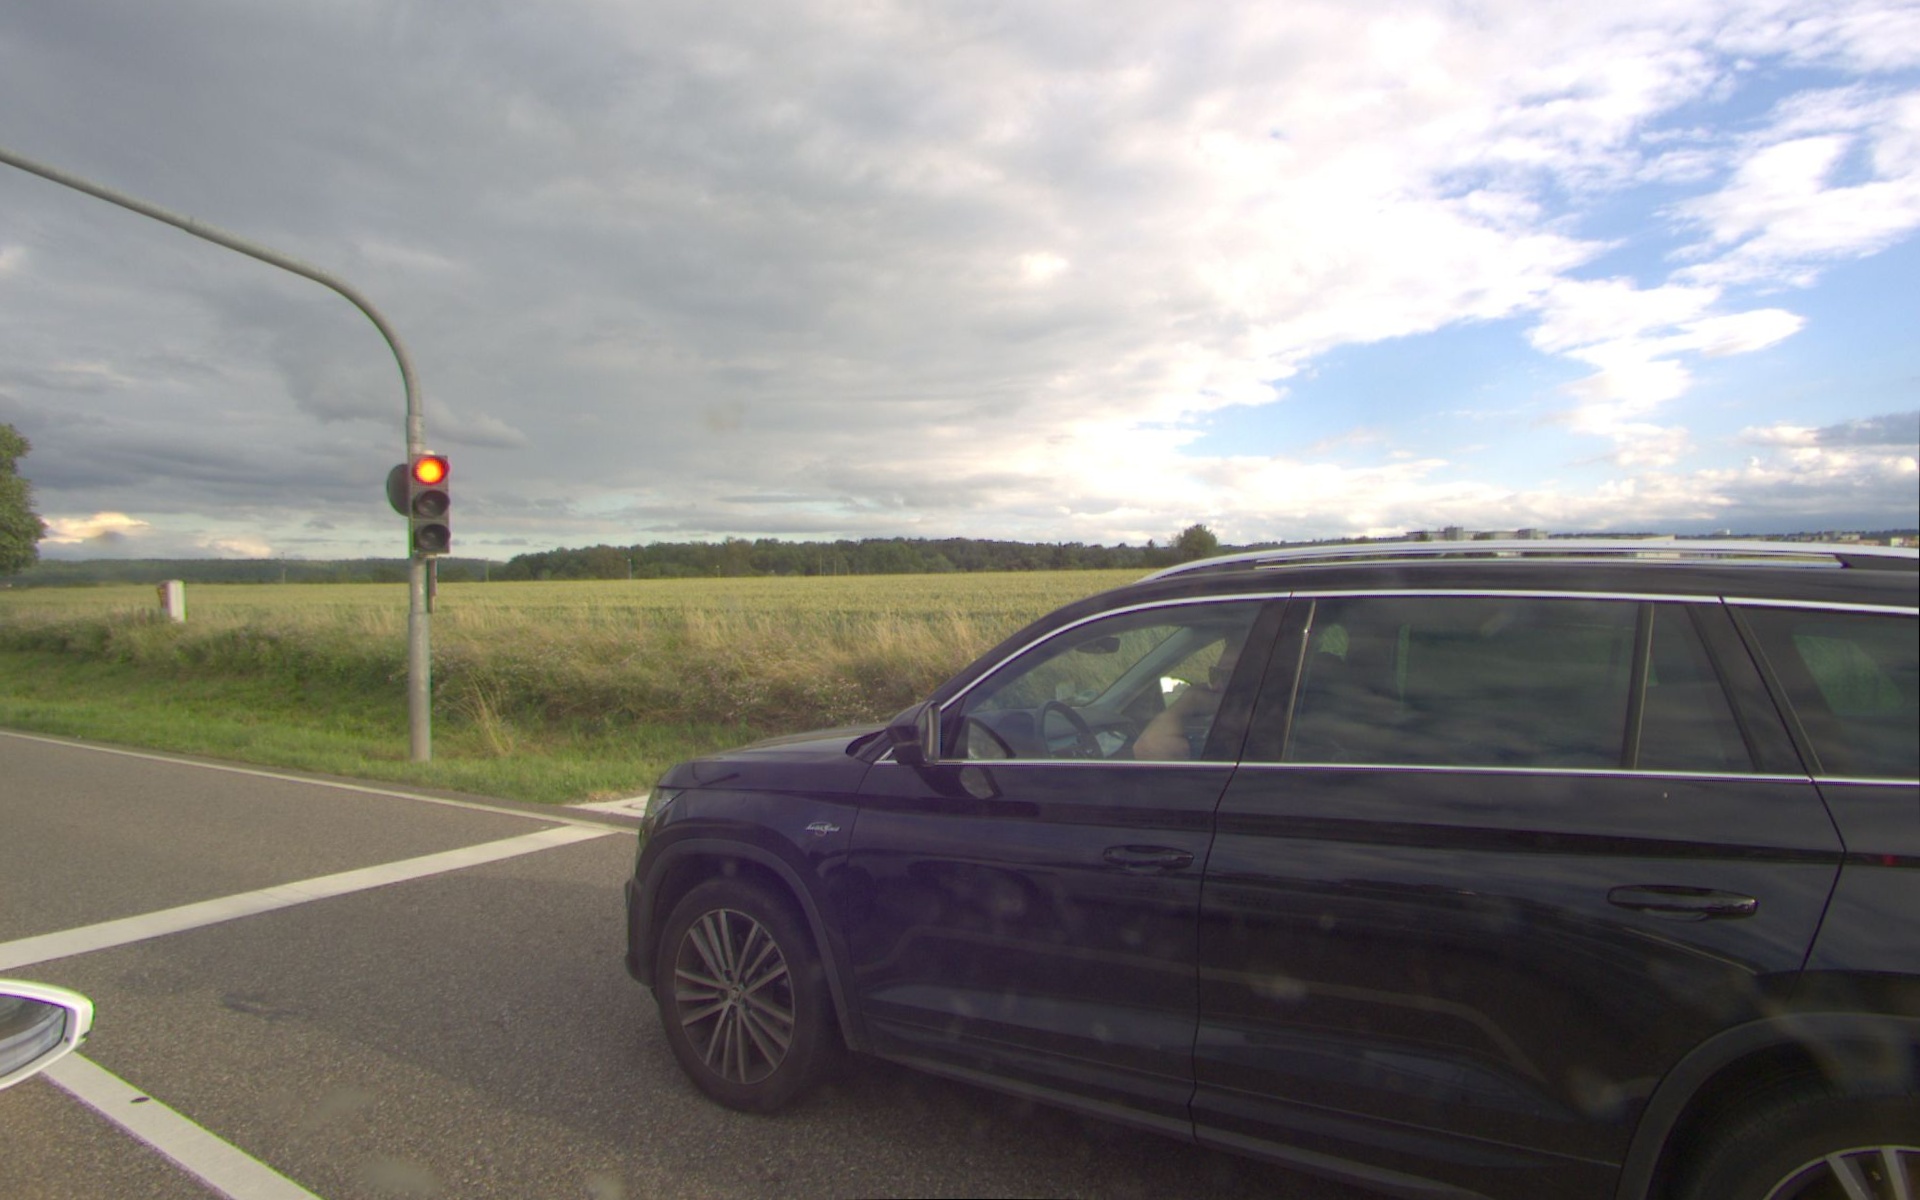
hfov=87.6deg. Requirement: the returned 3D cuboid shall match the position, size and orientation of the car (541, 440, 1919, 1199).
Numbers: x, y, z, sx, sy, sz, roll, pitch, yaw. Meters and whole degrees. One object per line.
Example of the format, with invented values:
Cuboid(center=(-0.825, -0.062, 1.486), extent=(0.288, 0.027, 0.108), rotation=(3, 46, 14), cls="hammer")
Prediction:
Cuboid(center=(0.913, 0.668, 3.073), extent=(4.492, 1.730, 1.833), rotation=(-1, -2, 32), cls="car")
